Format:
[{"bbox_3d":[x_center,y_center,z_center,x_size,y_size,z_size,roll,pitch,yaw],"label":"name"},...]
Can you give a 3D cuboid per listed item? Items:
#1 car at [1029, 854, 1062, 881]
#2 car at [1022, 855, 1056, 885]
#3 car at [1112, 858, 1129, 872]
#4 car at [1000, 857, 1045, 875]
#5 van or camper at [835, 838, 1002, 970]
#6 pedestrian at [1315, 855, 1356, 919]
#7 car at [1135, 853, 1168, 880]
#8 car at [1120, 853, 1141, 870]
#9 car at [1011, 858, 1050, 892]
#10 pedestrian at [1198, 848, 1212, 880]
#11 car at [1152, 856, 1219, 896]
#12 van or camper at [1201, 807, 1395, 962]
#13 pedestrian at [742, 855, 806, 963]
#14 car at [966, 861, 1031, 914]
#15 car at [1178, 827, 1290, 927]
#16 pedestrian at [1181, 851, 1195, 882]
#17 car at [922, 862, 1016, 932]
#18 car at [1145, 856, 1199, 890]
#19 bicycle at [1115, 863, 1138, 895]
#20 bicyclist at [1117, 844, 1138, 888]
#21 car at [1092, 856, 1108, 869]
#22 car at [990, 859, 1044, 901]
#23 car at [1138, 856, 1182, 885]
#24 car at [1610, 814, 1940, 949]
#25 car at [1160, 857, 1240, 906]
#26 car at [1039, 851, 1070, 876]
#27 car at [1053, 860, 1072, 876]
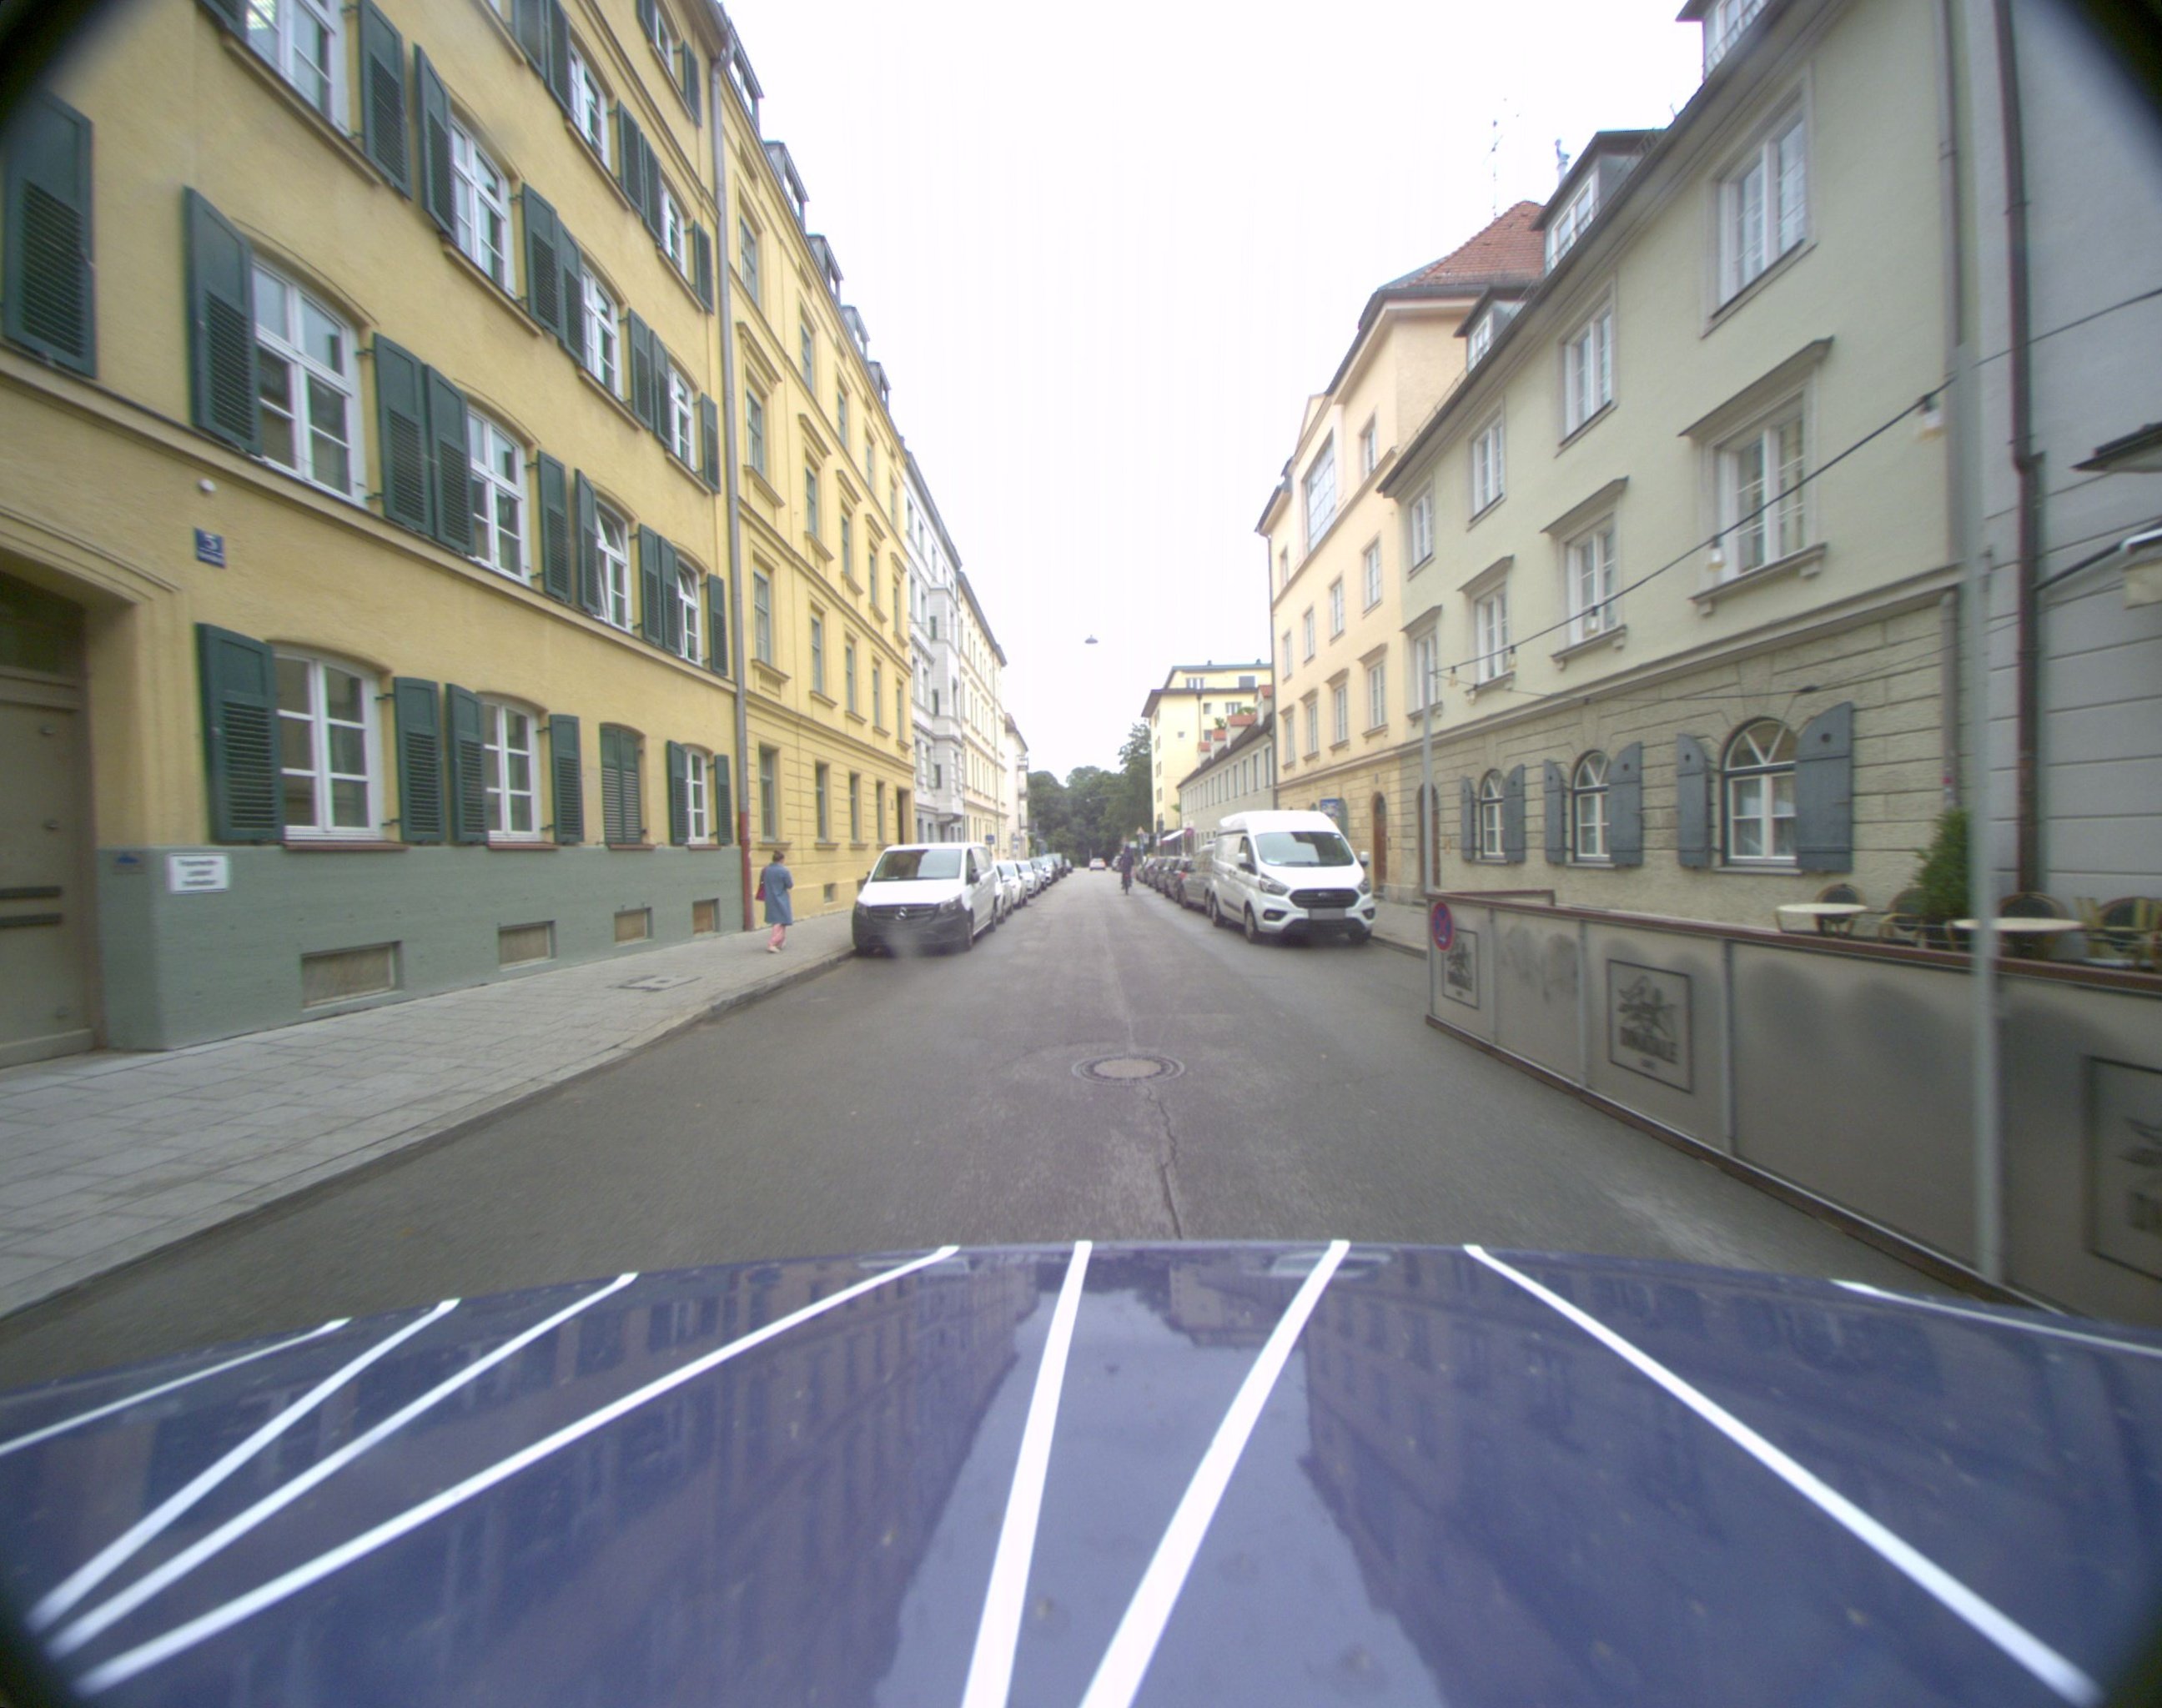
[{"bbox_3d":[-2.190,0.819,47.543,1.721,1.557,4.143,-1,0,1],"label":"car"},{"bbox_3d":[-2.303,0.854,42.732,1.721,1.592,4.322,-1,0,-1],"label":"car"},{"bbox_3d":[4.442,1.191,85.002,1.711,1.550,4.000,-1,0,0],"label":"car"},{"bbox_3d":[-5.336,1.065,69.387,3.998,1.556,1.712,-1,0,-2],"label":"car"},{"bbox_3d":[-2.762,0.771,14.281,1.999,2.002,5.232,-1,0,0],"label":"van or camper"},{"bbox_3d":[6.998,0.894,20.930,0.807,1.702,1.021,-1,0,2],"label":"pedestrian"},{"bbox_3d":[4.265,0.733,46.299,1.573,1.505,3.423,-2,0,-2],"label":"car"},{"bbox_3d":[4.607,0.668,71.117,1.711,1.490,4.000,-1,0,0],"label":"car"},{"bbox_3d":[-2.365,0.954,36.312,1.721,1.501,3.935,-1,0,-2],"label":"car"},{"bbox_3d":[6.624,0.551,40.627,0.582,1.688,0.806,-1,0,-3],"label":"pedestrian"},{"bbox_3d":[3.976,0.801,29.645,1.862,1.393,4.268,-2,0,-2],"label":"car"},{"bbox_3d":[3.711,0.448,14.206,1.999,2.298,5.477,-1,0,0],"label":"van or camper"},{"bbox_3d":[-4.818,0.839,11.972,0.598,1.629,0.896,2,0,-1],"label":"pedestrian"},{"bbox_3d":[-2.550,0.993,24.123,1.627,1.501,3.761,-1,0,0],"label":"car"},{"bbox_3d":[3.757,0.521,19.472,1.862,2.188,4.561,-2,0,-1],"label":"car"},{"bbox_3d":[5.680,0.658,40.466,0.614,1.589,0.662,-1,1,-3],"label":"pedestrian"},{"bbox_3d":[-2.720,0.993,19.436,1.820,1.501,4.587,-1,0,-1],"label":"car"},{"bbox_3d":[4.105,0.810,34.907,1.862,1.393,4.269,-2,0,-1],"label":"car"},{"bbox_3d":[1.722,0.951,29.040,0.734,1.144,1.999,-1,0,0],"label":"bicycle"},{"bbox_3d":[1.765,0.440,28.948,0.688,1.618,0.853,-2,0,0],"label":"bicyclist"},{"bbox_3d":[2.205,1.003,88.196,1.793,1.409,3.905,0,0,0],"label":"car"},{"bbox_3d":[-2.495,0.991,30.649,1.721,1.501,4.469,-1,0,1],"label":"car"},{"bbox_3d":[4.158,0.834,40.536,1.862,1.393,4.269,-2,0,0],"label":"car"},{"bbox_3d":[12.005,0.401,13.669,1.998,2.002,4.400,-1,0,2],"label":"car"},{"bbox_3d":[3.788,0.832,24.871,1.862,1.393,4.269,-2,0,-1],"label":"car"},{"bbox_3d":[-1.998,0.709,58.970,1.998,1.850,5.114,-1,0,2],"label":"car"},{"bbox_3d":[-1.828,1.374,76.382,1.711,1.490,4.000,-1,0,0],"label":"car"}]
